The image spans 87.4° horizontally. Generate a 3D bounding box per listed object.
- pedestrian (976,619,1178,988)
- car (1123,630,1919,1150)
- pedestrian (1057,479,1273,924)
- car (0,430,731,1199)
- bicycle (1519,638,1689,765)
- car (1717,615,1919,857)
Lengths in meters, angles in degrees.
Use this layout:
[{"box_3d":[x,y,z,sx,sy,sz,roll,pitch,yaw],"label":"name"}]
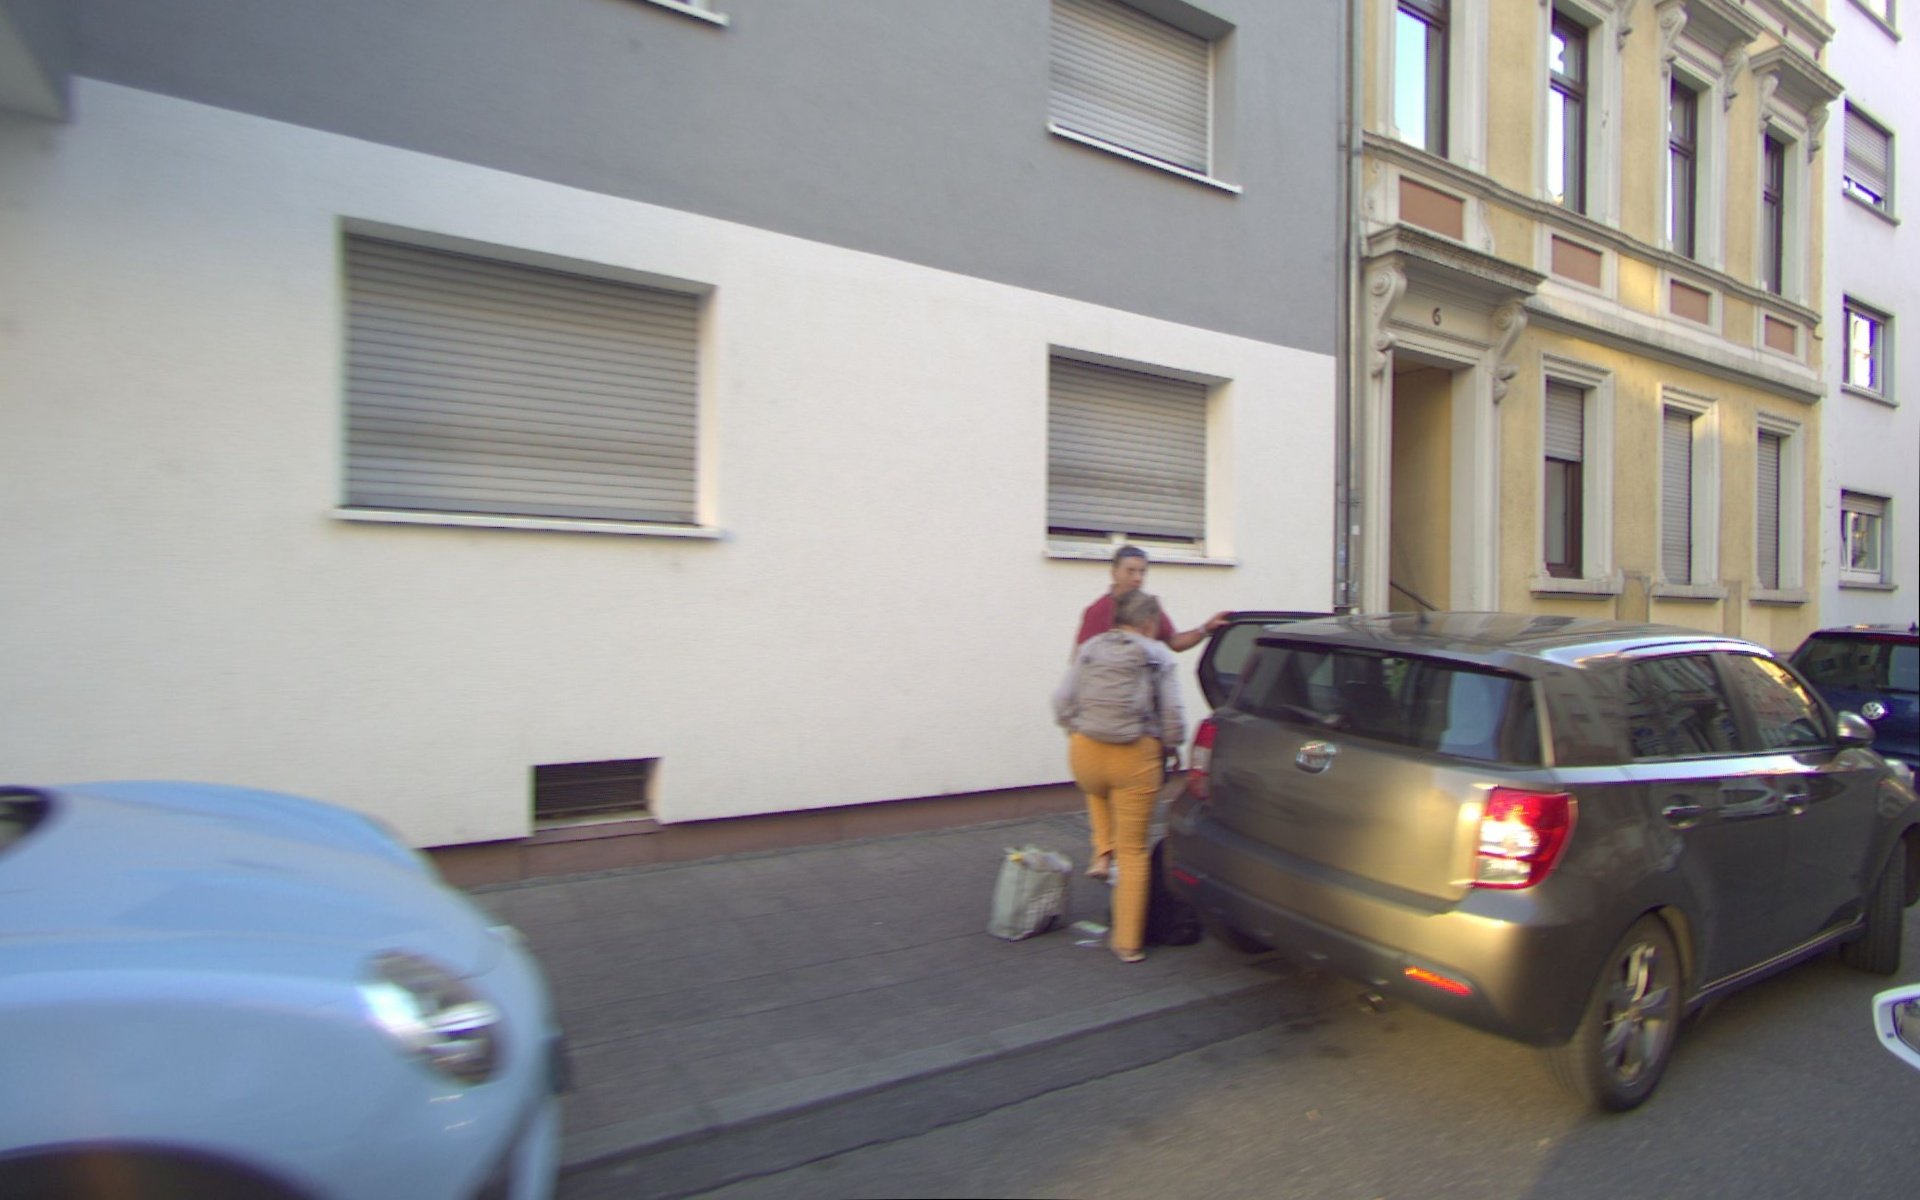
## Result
[{"box_3d":[0.520,0.802,4.371,0.650,1.429,0.671,0,-1,31],"label":"pedestrian"},{"box_3d":[2.836,0.843,4.454,4.085,1.350,1.675,2,-2,-32],"label":"car"},{"box_3d":[1.052,0.473,5.167,0.769,2.040,0.791,1,-1,-41],"label":"pedestrian"},{"box_3d":[-2.669,0.595,1.272,4.323,1.584,1.751,0,-1,-36],"label":"car"},{"box_3d":[6.378,0.951,9.904,2.105,1.133,0.531,1,-1,-31],"label":"bicycle"},{"box_3d":[7.558,0.879,7.554,3.786,1.529,1.719,0,-1,-31],"label":"car"}]
